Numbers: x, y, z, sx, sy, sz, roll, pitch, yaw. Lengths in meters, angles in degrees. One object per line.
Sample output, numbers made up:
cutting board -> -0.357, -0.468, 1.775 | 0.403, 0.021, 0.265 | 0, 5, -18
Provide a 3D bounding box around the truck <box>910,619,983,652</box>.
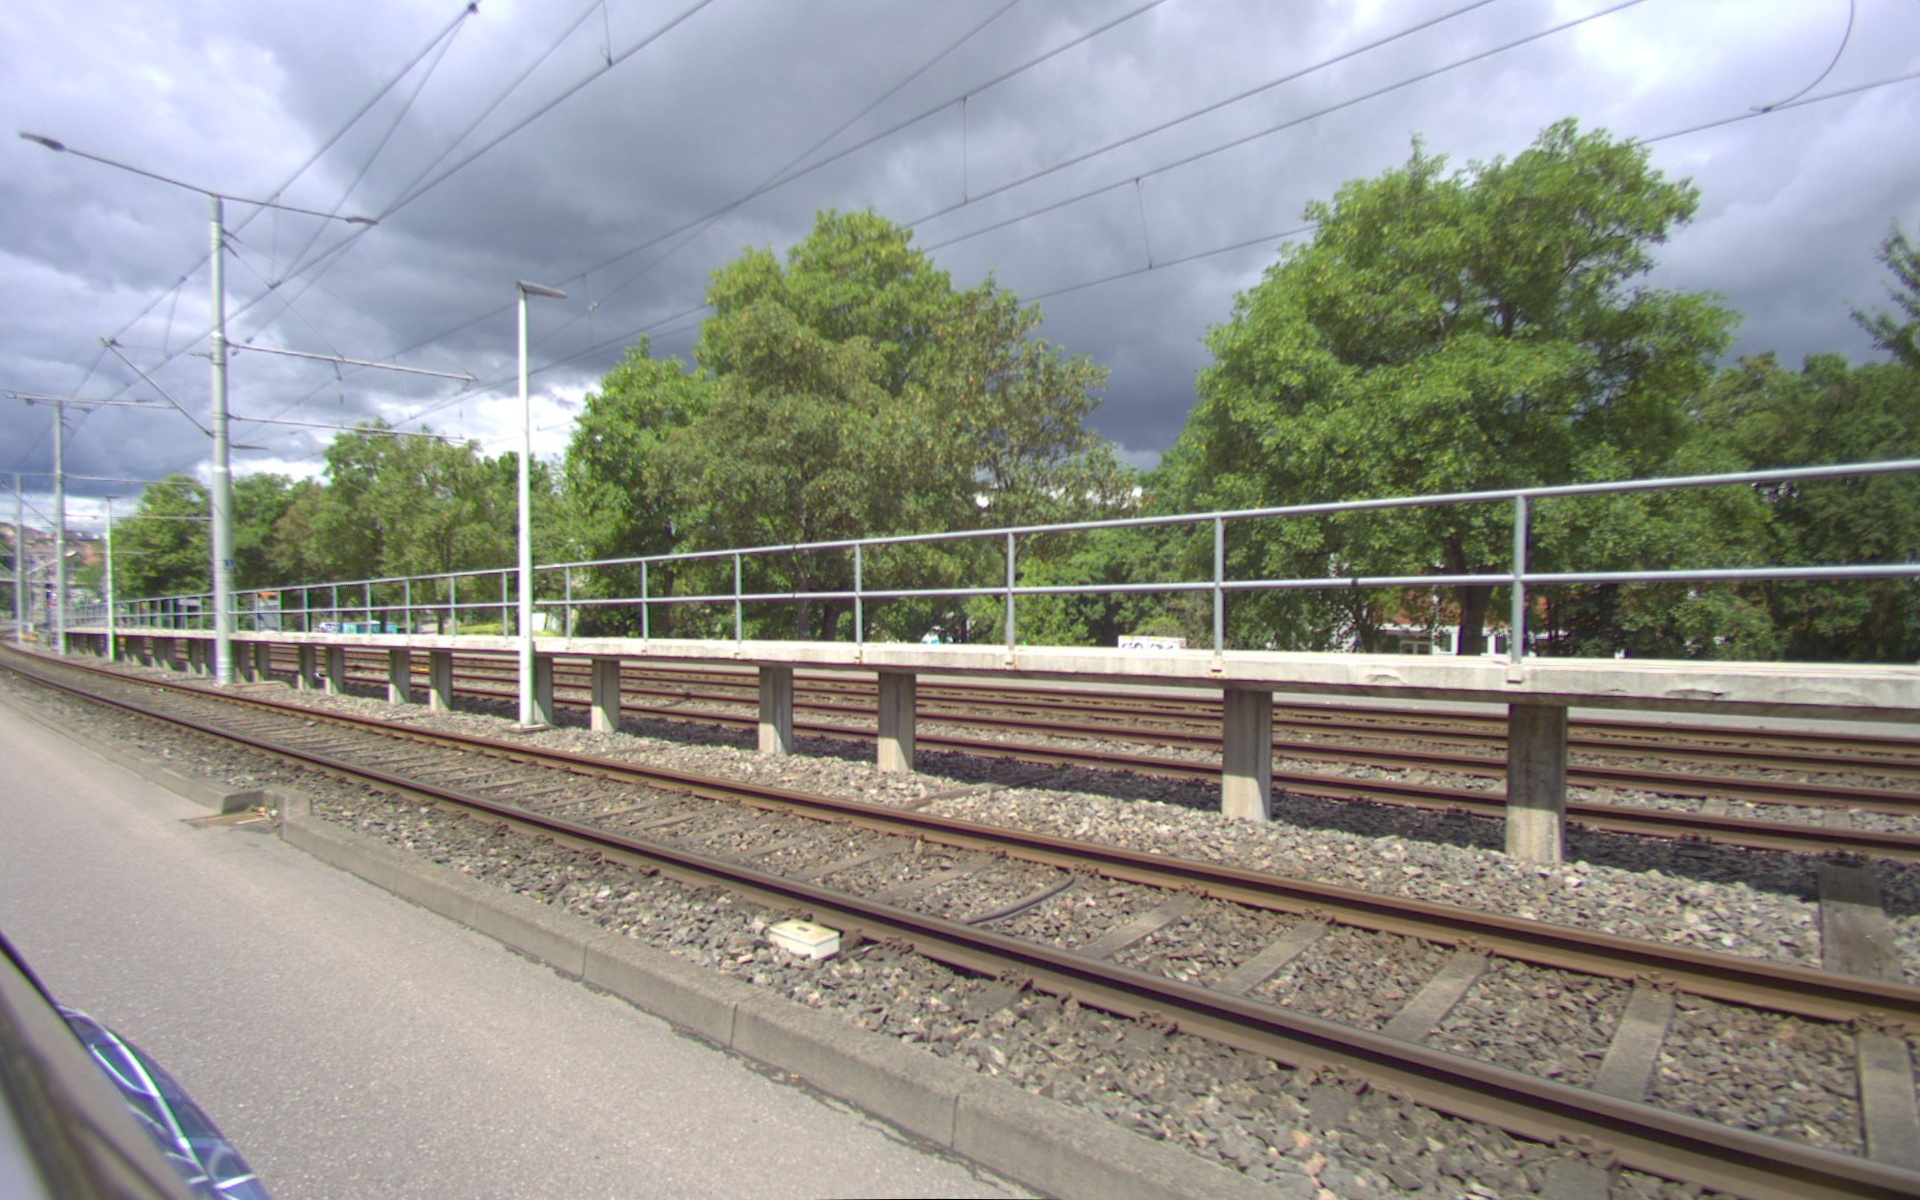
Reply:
truck -> -1.148, 3.175, 89.848 | 6.526, 2.877, 2.681 | 3, -3, -45
